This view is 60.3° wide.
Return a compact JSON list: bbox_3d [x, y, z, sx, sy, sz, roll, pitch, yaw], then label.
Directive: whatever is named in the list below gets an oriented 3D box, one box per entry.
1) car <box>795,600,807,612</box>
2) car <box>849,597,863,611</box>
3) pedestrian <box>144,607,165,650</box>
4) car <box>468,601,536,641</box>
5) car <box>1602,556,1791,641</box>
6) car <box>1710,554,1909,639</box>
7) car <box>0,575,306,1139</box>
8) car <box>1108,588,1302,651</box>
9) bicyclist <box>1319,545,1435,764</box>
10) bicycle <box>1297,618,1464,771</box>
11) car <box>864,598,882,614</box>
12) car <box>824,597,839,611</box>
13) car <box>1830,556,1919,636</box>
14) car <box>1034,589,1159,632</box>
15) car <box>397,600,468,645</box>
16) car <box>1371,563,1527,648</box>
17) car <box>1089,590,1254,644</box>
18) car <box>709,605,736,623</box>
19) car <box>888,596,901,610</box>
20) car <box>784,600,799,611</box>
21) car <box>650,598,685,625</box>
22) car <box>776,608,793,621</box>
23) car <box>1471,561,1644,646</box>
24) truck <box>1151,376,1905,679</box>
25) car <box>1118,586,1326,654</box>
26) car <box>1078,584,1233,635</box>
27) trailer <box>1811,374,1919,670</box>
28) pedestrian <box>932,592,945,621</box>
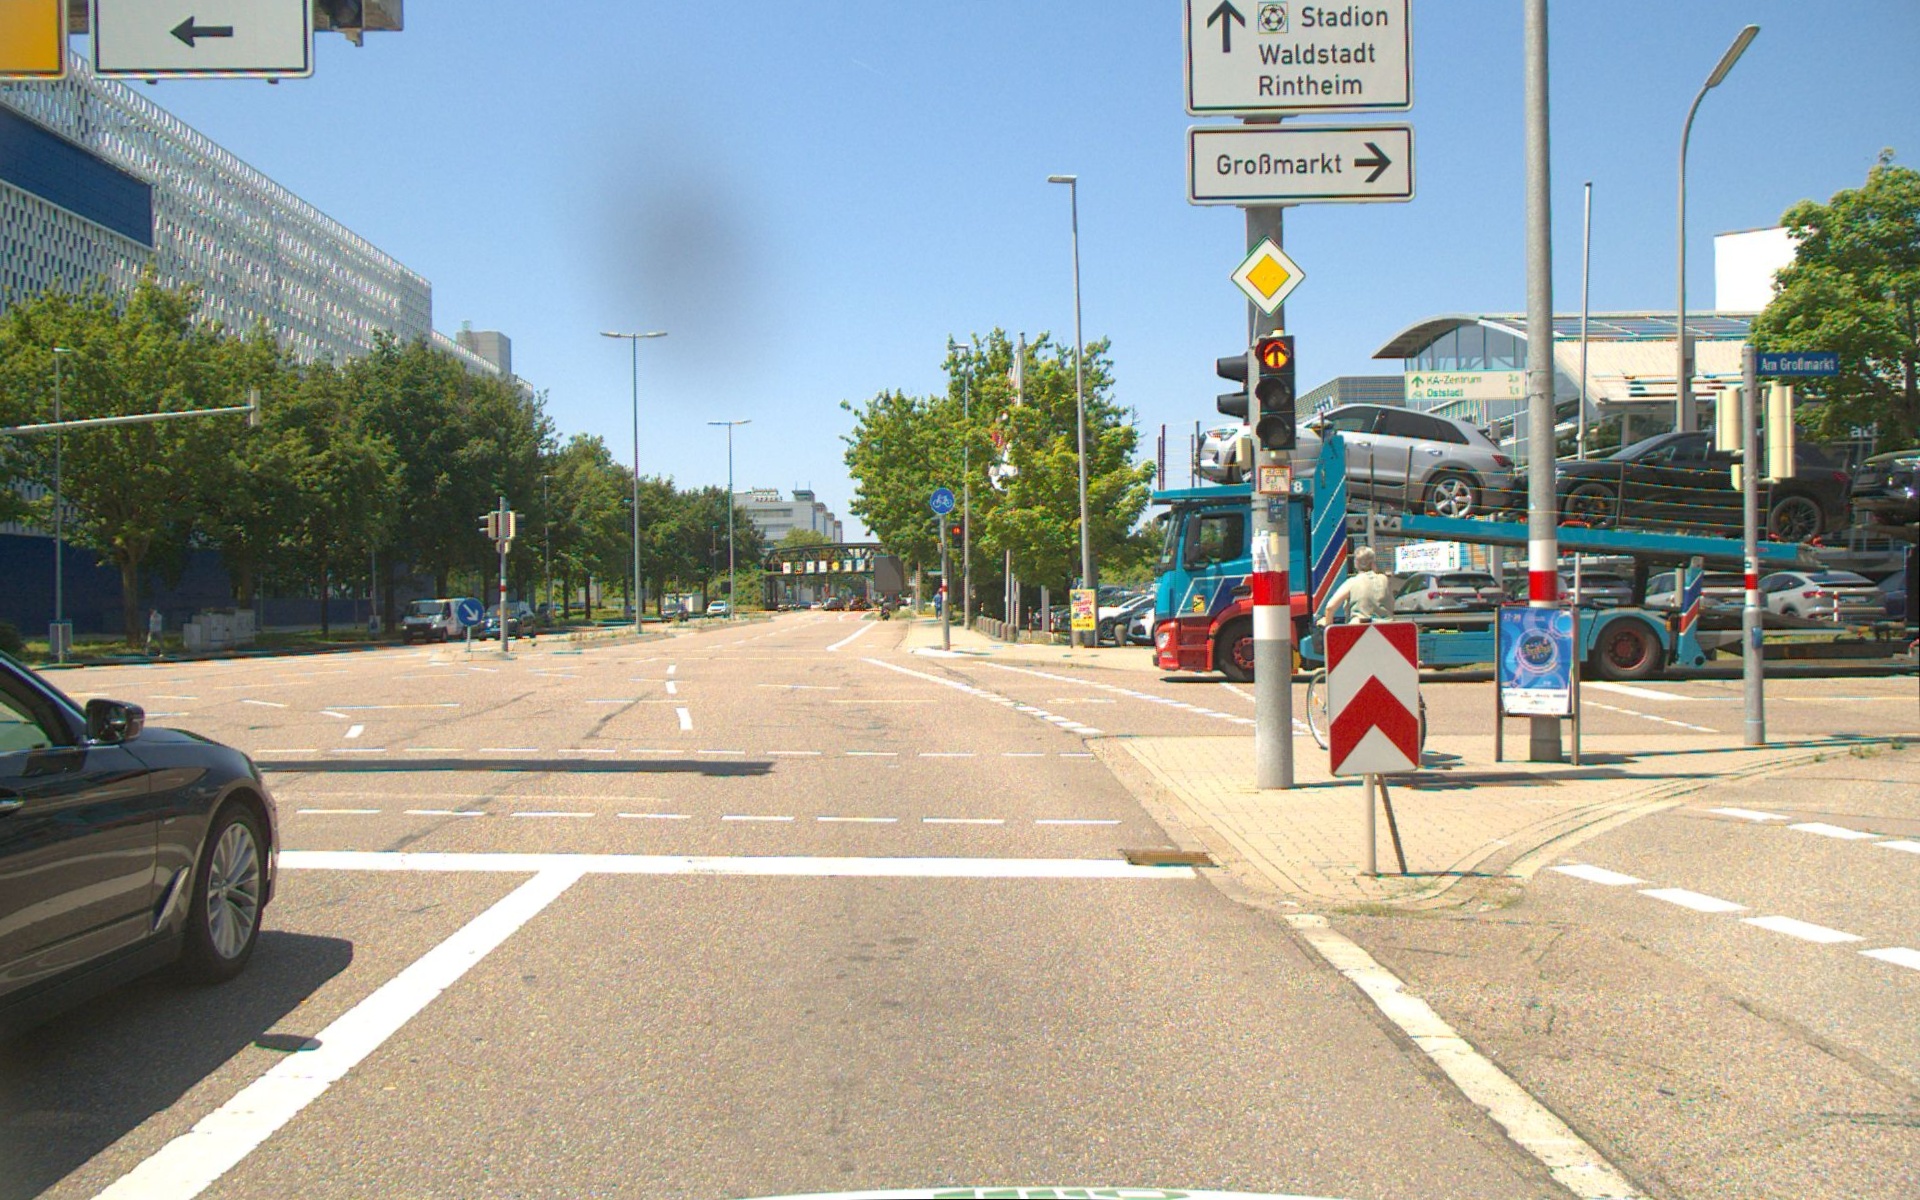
[{"bbox_3d":[-23.323,0.880,242.092,1.616,1.682,4.160,-1,0,-4],"label":"car"},{"bbox_3d":[-14.262,0.535,226.057,1.736,1.758,3.998,-1,0,-2],"label":"car"},{"bbox_3d":[-28.511,1.011,58.533,0.452,1.508,0.483,-1,0,2],"label":"pedestrian"},{"bbox_3d":[-20.171,0.907,73.027,1.837,1.626,4.494,-1,0,-2],"label":"car"},{"bbox_3d":[15.736,-0.066,35.614,1.953,1.668,4.440,-1,1,-2],"label":"car"},{"bbox_3d":[18.183,-0.109,35.668,1.847,1.668,4.523,-1,1,-2],"label":"car"},{"bbox_3d":[-3.419,0.679,4.326,1.764,1.491,4.621,0,0,-3],"label":"car"},{"bbox_3d":[6.195,0.508,42.272,4.644,1.482,2.000,-1,-1,0],"label":"car"},{"bbox_3d":[3.488,0.440,13.875,0.719,1.779,0.753,0,0,-6],"label":"bicyclist"},{"bbox_3d":[3.506,0.753,13.980,0.771,1.147,1.919,0,1,-5],"label":"bicycle"},{"bbox_3d":[-5.834,0.411,111.318,1.114,1.060,2.307,-1,0,-2],"label":"car"},{"bbox_3d":[-17.316,0.574,223.350,1.736,1.758,3.998,-1,0,-2],"label":"car"},{"bbox_3d":[20.996,-0.108,35.833,1.791,1.668,4.473,-1,1,-2],"label":"car"},{"bbox_3d":[5.343,0.401,65.304,4.648,1.482,1.999,-2,1,-4],"label":"car"},{"bbox_3d":[-25.122,1.055,78.942,1.953,2.043,4.762,-1,0,-2],"label":"car"},{"bbox_3d":[10.400,0.077,35.483,1.953,1.668,4.267,-1,1,-2],"label":"car"},{"bbox_3d":[6.365,0.499,50.041,4.647,1.482,1.999,-1,1,-4],"label":"car"},{"bbox_3d":[-22.660,1.341,157.960,1.887,1.694,4.089,-1,0,1],"label":"car"},{"bbox_3d":[-8.938,0.393,225.204,1.736,1.758,3.998,-1,0,-2],"label":"car"},{"bbox_3d":[-21.566,0.705,211.949,1.651,1.435,3.664,-1,0,-2],"label":"car"},{"bbox_3d":[-23.316,0.909,131.768,1.952,2.049,4.000,-1,-2,2],"label":"car"},{"bbox_3d":[-20.802,1.685,195.737,1.697,1.452,3.704,-3,0,-2],"label":"car"},{"bbox_3d":[12.740,0.039,35.592,1.953,1.668,4.556,-1,1,-2],"label":"car"},{"bbox_3d":[8.221,-1.011,25.228,10.393,4.154,3.102,-1,0,5],"label":"truck"},{"bbox_3d":[6.192,0.455,39.487,4.644,1.482,2.000,-1,1,0],"label":"car"},{"bbox_3d":[6.218,0.291,52.862,4.647,1.482,1.999,-1,1,-4],"label":"car"},{"bbox_3d":[18.137,-1.176,24.424,9.409,4.153,3.096,-1,0,5],"label":"trailer"},{"bbox_3d":[-1.201,0.354,90.803,0.654,1.537,0.736,-1,0,-2],"label":"pedestrian"}]
